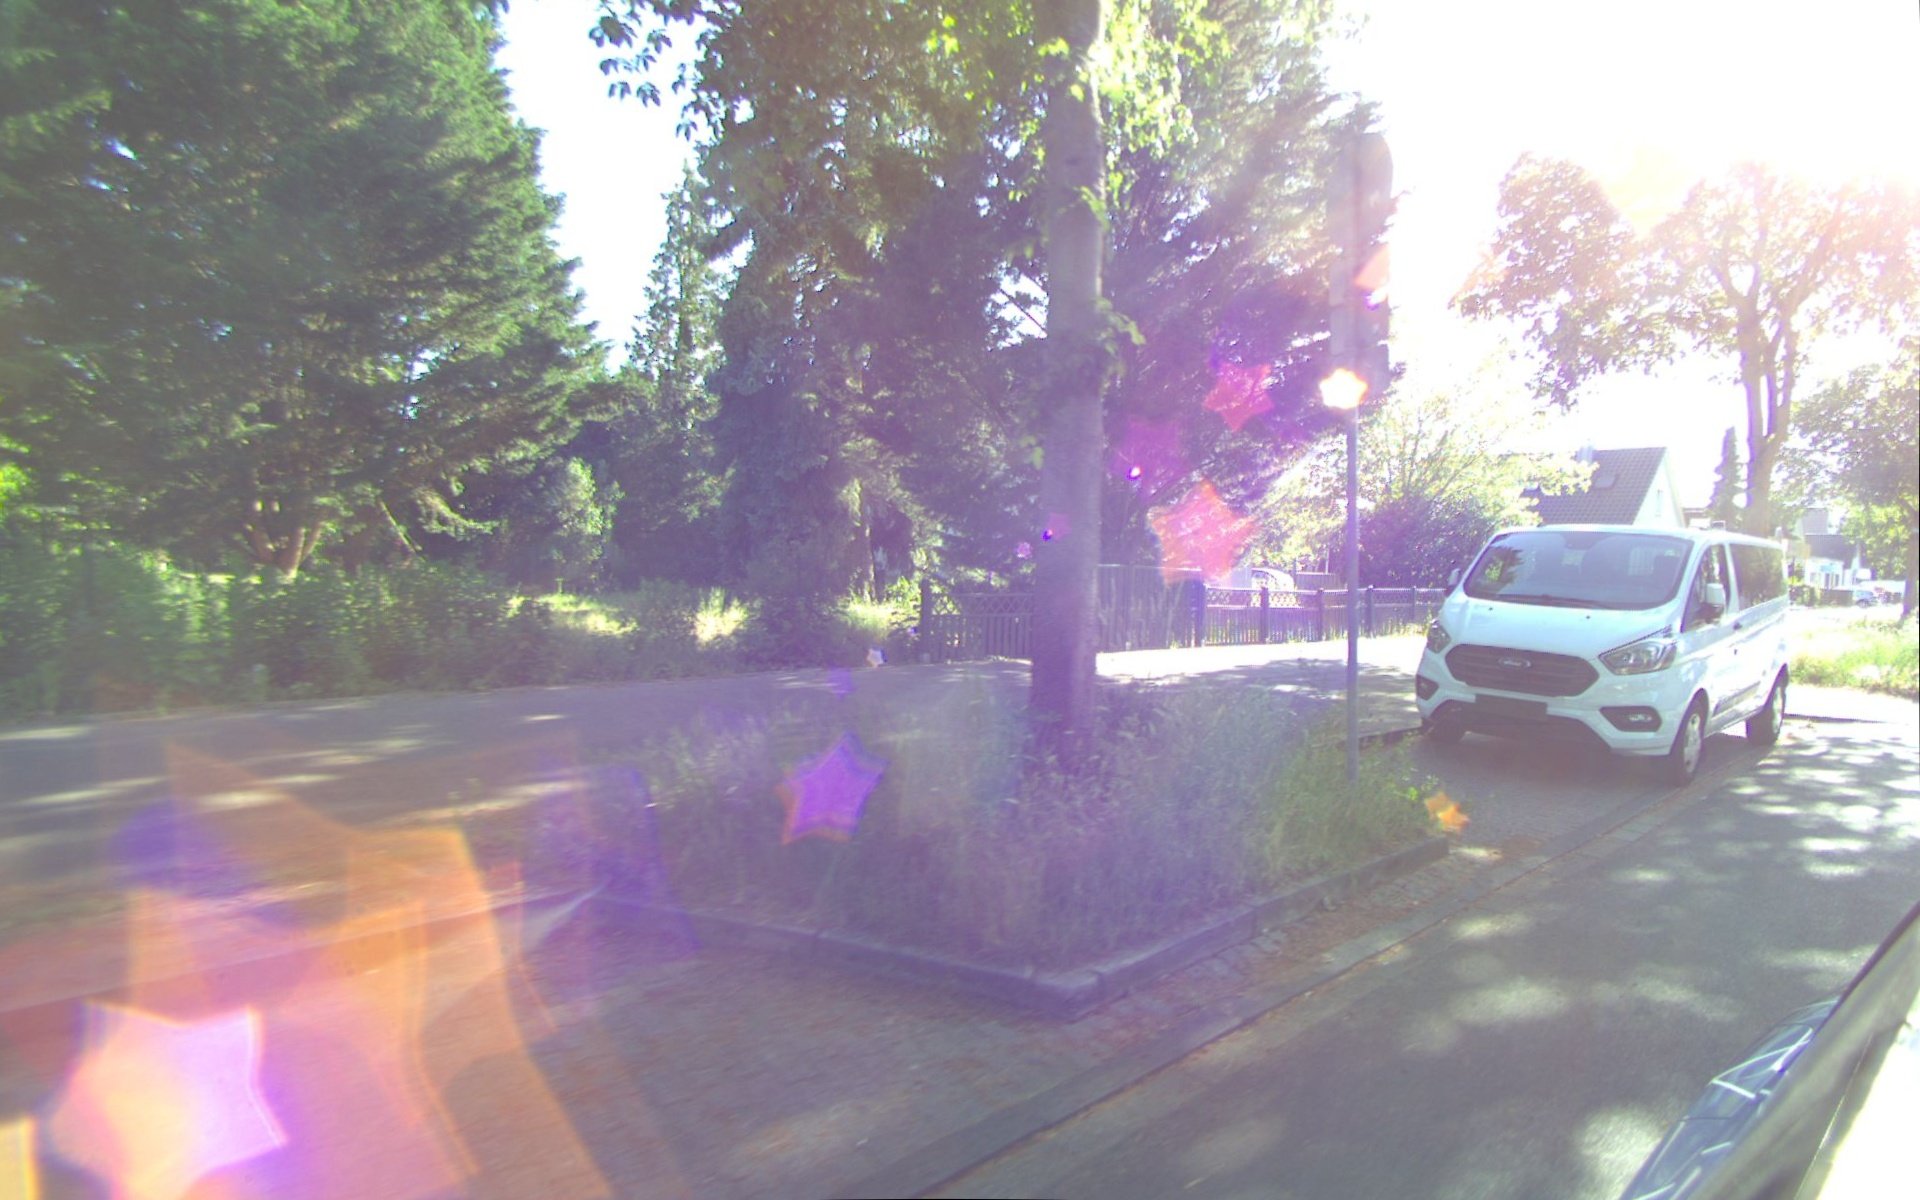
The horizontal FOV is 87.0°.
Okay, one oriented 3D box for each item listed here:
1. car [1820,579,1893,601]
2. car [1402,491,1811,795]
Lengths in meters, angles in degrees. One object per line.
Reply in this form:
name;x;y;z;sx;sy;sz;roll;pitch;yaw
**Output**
car;60.956;-0.673;68.839;1.668;1.457;3.613;-1;1;-44
car;6.137;0.237;9.282;5.110;2.039;1.995;-2;1;-44
